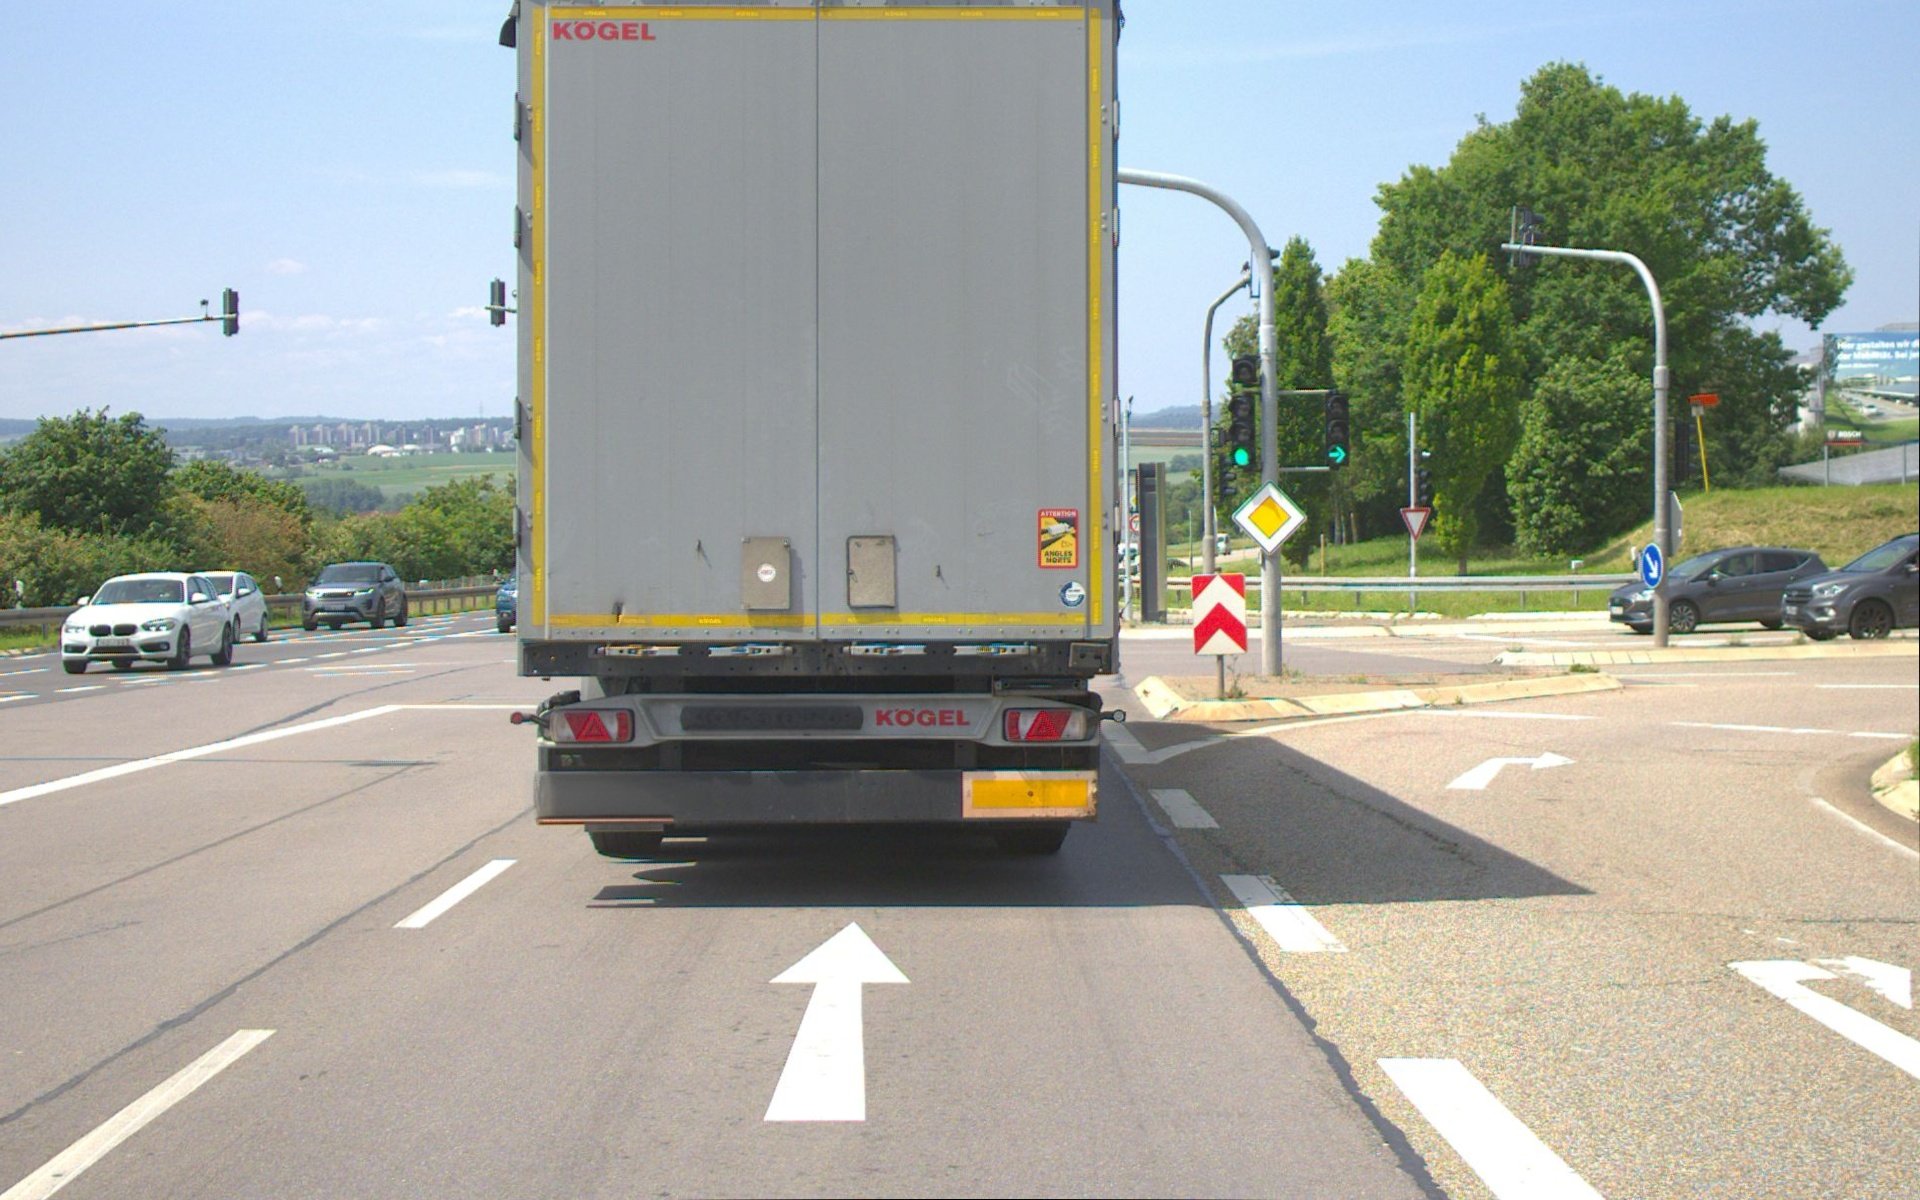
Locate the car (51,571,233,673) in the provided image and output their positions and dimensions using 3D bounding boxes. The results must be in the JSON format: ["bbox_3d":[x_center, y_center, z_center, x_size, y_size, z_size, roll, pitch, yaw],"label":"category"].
[{"bbox_3d":[-12.144,0.303,51.275,1.772,1.429,4.000,-1,0,0],"label":"car"}]

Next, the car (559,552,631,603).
[{"bbox_3d":[-11.332,-0.723,106.939,1.644,1.491,4.066,-2,1,2],"label":"car"}]

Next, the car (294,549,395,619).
[{"bbox_3d":[-15.019,-0.391,84.075,1.644,1.618,4.328,-2,0,0],"label":"car"}]

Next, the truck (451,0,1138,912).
[{"bbox_3d":[-0.895,-0.752,19.902,2.799,3.916,11.343,1,1,-2],"label":"truck"}]

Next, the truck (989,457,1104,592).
[{"bbox_3d":[2.624,-2.121,100.815,2.656,3.752,10.160,1,0,5],"label":"truck"}]

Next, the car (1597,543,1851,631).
[{"bbox_3d":[13.362,-0.233,60.203,3.986,1.505,1.717,0,0,-9],"label":"car"}]

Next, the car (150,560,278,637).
[{"bbox_3d":[-15.242,-0.045,70.397,1.644,1.491,3.801,-2,0,2],"label":"car"}]

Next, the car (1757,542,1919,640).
[{"bbox_3d":[14.918,-0.154,53.994,4.357,1.505,1.717,0,0,-11],"label":"car"}]

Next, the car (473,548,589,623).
[{"bbox_3d":[-8.869,-0.294,71.357,1.755,1.464,4.196,2,0,1],"label":"car"}]
